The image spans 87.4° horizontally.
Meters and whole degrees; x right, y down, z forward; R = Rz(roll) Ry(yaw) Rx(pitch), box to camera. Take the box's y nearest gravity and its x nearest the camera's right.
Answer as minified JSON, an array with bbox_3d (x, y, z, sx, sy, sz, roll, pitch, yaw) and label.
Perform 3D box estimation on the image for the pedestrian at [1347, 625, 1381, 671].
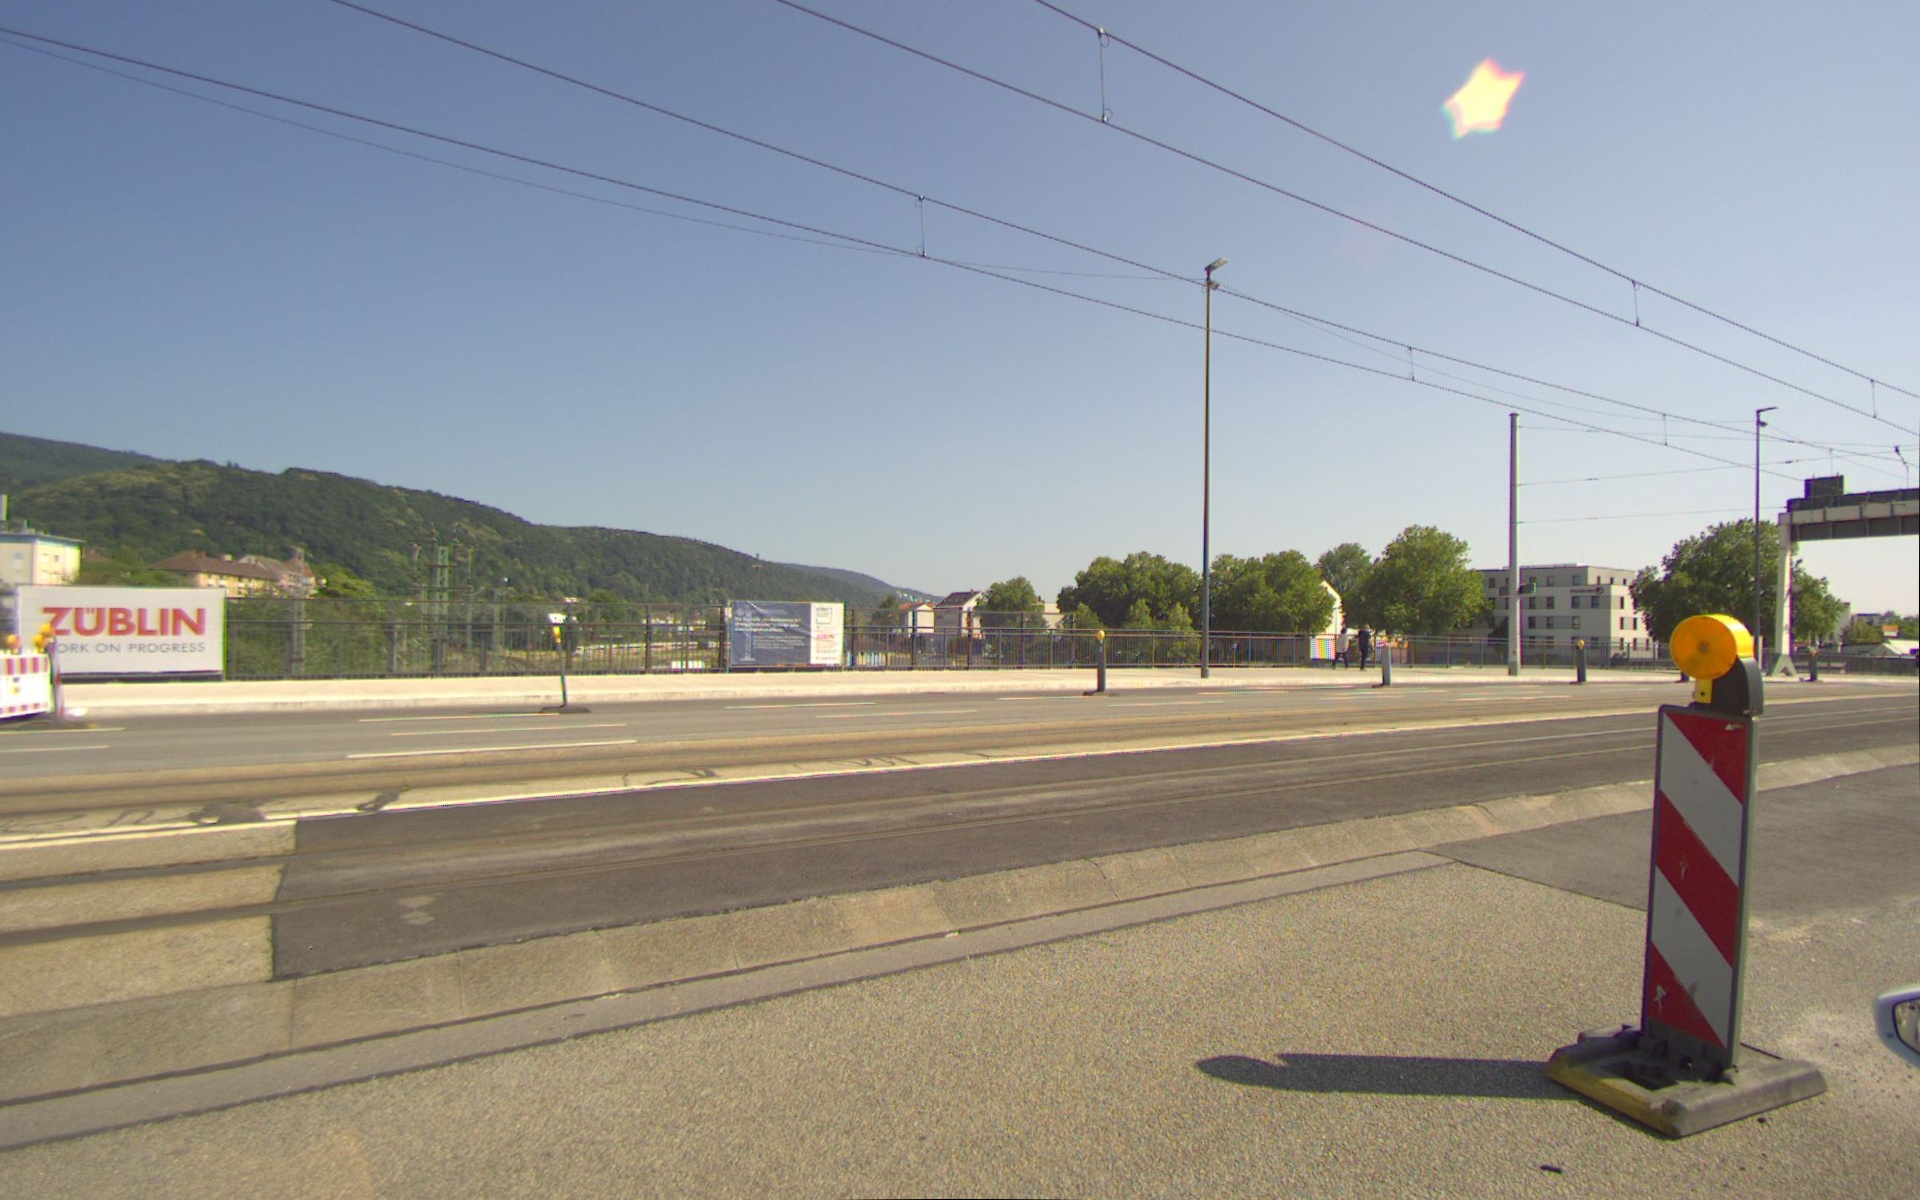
[{"bbox_3d":[15.173,1.797,37.735,0.884,1.663,0.740,2,1,-30],"label":"pedestrian"}]

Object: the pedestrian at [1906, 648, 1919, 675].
[{"bbox_3d":[60.789,3.914,63.959,0.807,1.709,0.595,2,-2,-26],"label":"pedestrian"}]

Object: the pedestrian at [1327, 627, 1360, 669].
[{"bbox_3d":[14.752,1.831,38.638,0.878,1.565,0.716,2,1,-30],"label":"pedestrian"}]
